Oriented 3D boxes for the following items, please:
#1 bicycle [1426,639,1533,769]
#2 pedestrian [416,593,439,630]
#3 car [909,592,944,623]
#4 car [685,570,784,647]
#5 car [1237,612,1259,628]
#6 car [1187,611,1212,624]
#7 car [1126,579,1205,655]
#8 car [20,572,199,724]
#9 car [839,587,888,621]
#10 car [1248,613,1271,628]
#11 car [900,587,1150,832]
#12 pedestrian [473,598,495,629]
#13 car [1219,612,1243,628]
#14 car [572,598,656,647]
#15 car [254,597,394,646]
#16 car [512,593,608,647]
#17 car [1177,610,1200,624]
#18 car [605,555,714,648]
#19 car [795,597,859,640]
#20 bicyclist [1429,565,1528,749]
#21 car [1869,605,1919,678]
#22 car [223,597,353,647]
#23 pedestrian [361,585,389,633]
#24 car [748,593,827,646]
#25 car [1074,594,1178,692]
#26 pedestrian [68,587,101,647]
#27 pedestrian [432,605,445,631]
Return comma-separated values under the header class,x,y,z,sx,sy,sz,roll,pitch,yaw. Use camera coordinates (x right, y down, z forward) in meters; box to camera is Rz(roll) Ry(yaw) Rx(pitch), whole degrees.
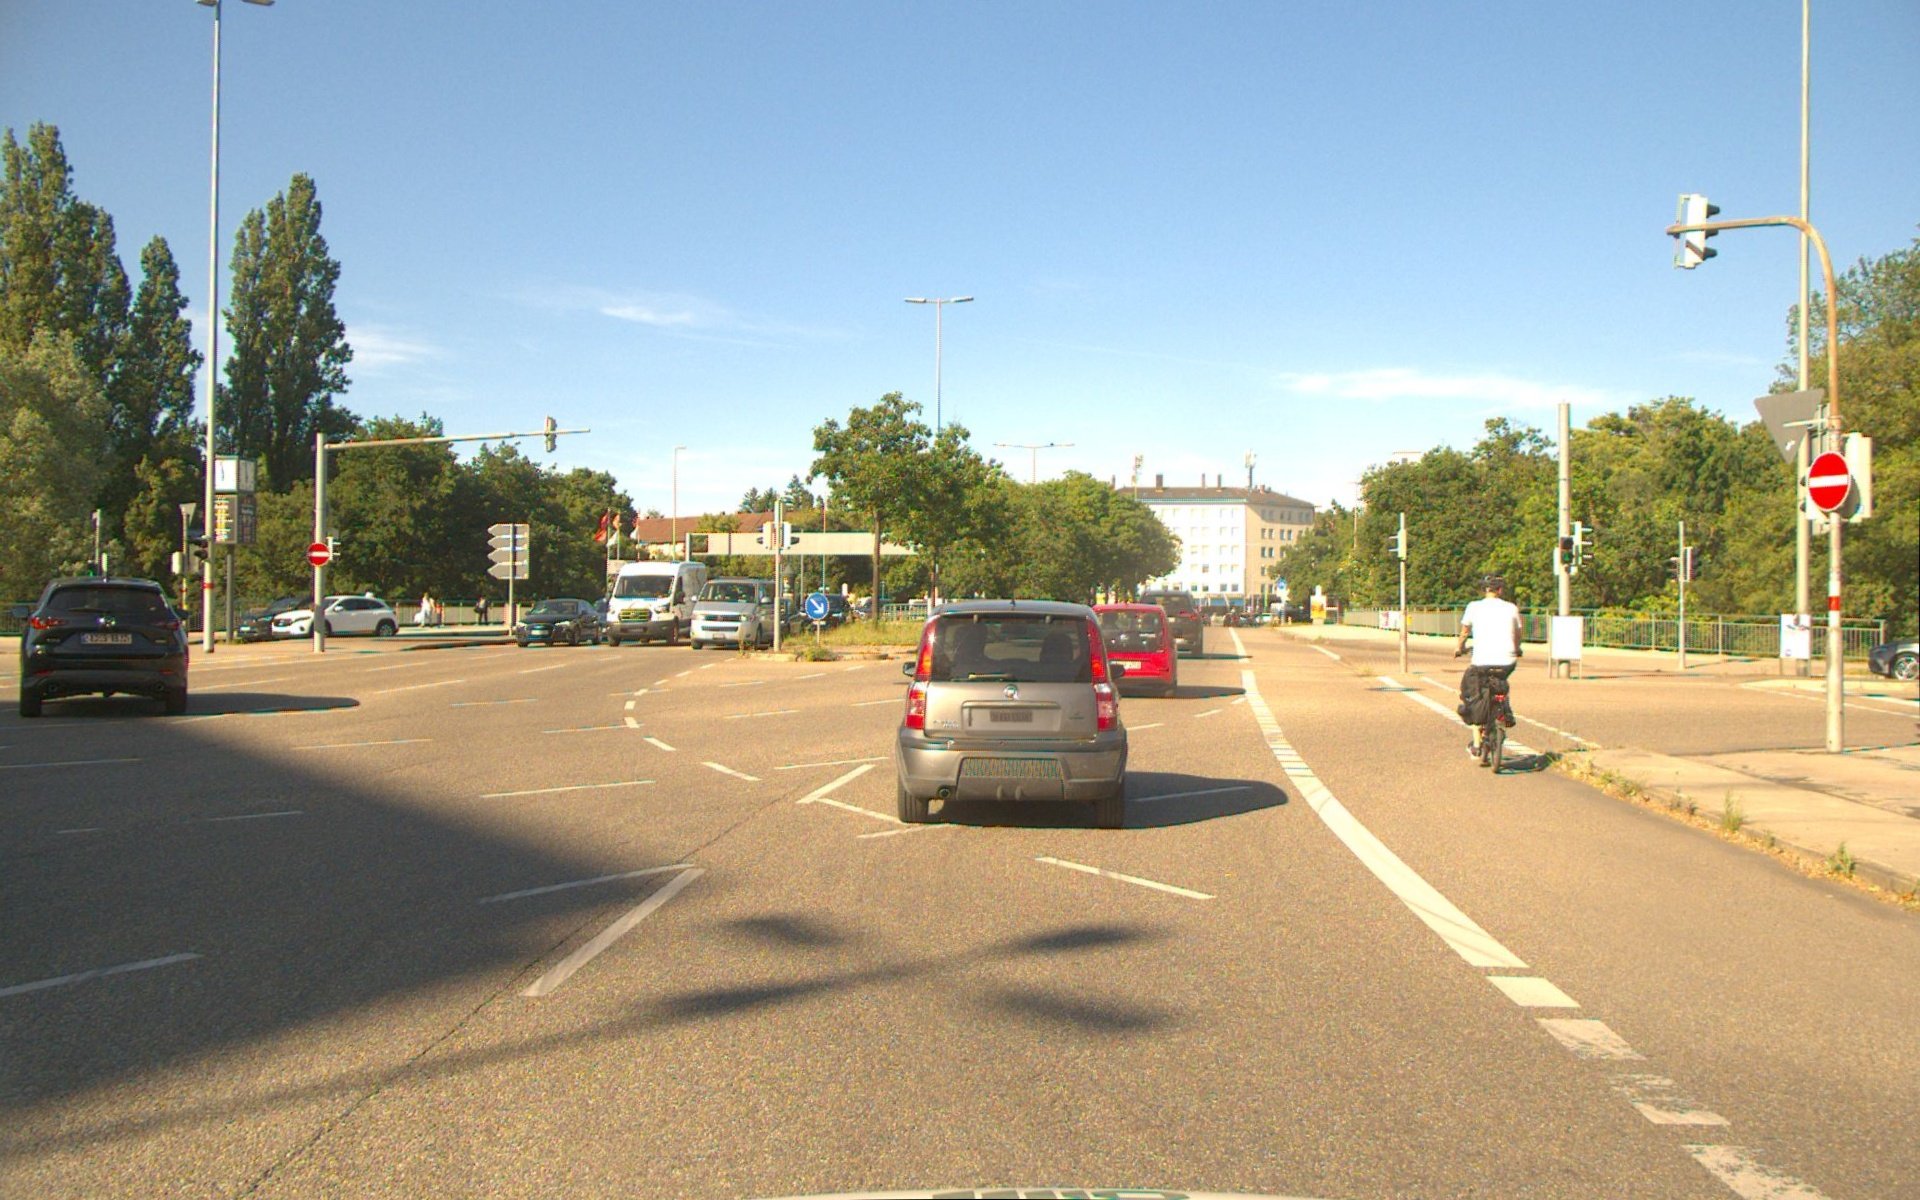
class,x,y,z,sx,sy,sz,roll,pitch,yaw
bicycle,4.938,0.960,15.817,0.676,1.121,1.827,1,0,9
pedestrian,-24.295,0.539,75.416,0.705,1.670,0.673,1,-2,7
car,-2.231,0.521,111.299,1.951,2.049,4.336,0,0,4
car,-6.296,0.236,46.753,1.896,2.043,4.933,0,0,2
car,34.157,2.424,196.187,1.827,1.710,3.907,1,-2,22
car,29.101,2.155,200.897,1.906,1.555,4.095,0,0,24
car,5.519,0.478,44.035,1.904,1.872,4.156,2,-1,9
car,-10.872,0.561,21.269,1.851,1.739,4.161,1,0,-26
car,-4.875,0.213,84.077,1.896,1.651,4.508,0,0,4
car,36.938,2.581,203.989,1.828,1.710,3.906,1,-2,24
car,0.472,0.706,12.610,1.584,1.542,3.820,1,0,2
pedestrian,-24.129,0.698,83.827,0.656,1.529,0.779,1,-3,22
car,30.914,2.263,188.506,1.828,1.710,3.907,1,-2,23
car,-11.776,0.731,56.544,1.773,1.568,4.617,-1,0,1
car,-21.701,0.706,56.617,1.746,1.562,4.319,1,0,31
car,-12.051,0.584,50.060,1.897,1.534,4.000,-1,0,0
car,26.546,1.946,191.843,1.905,1.555,4.098,0,0,19
car,-8.965,0.038,49.860,1.896,2.621,6.090,0,0,2
car,-5.255,0.721,65.946,1.896,1.651,4.508,0,0,4
bicyclist,4.964,0.528,15.884,0.708,1.688,1.114,1,0,9
car,22.277,0.916,36.022,4.161,1.579,1.853,0,0,37
car,-24.265,0.802,59.839,1.861,1.654,3.987,0,-3,34
pedestrian,-24.941,0.384,70.536,0.789,2.032,0.788,1,-2,7
car,-5.557,0.617,53.739,1.896,1.651,4.507,0,0,2
car,2.734,0.669,27.731,1.583,1.488,3.753,1,0,4
pedestrian,-23.359,0.455,44.115,0.703,1.574,0.720,0,-1,-34
pedestrian,-23.735,0.829,75.250,0.414,1.156,0.398,1,-2,7
